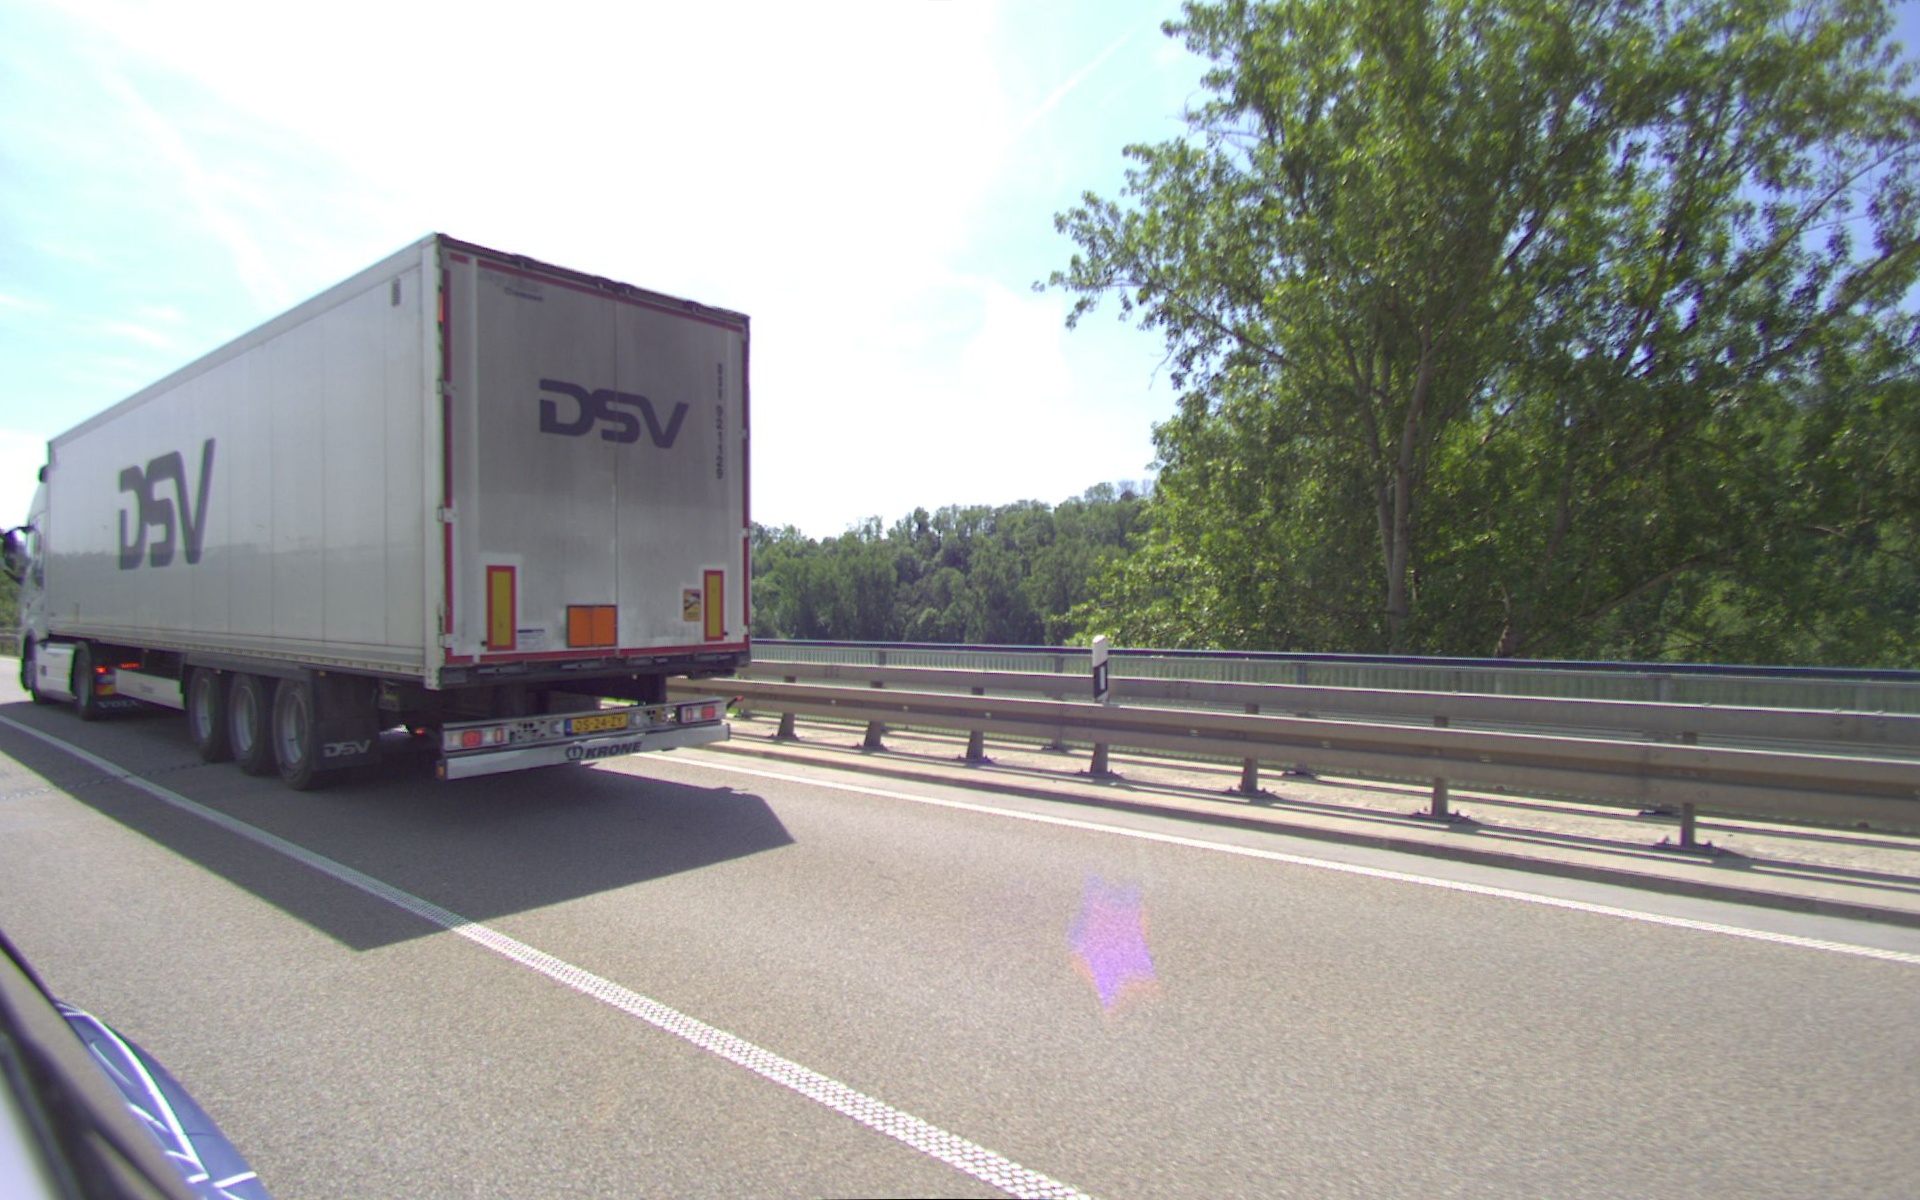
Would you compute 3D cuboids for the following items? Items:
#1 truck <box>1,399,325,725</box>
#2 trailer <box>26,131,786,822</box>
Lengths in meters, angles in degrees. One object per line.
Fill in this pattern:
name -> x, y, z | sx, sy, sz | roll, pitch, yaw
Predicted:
truck -> -12.839, -0.437, 16.109 | 6.325, 4.192, 2.817 | -1, -1, 40
trailer -> -7.897, -0.594, 11.943 | 14.485, 4.219, 2.824 | -2, -1, 40
